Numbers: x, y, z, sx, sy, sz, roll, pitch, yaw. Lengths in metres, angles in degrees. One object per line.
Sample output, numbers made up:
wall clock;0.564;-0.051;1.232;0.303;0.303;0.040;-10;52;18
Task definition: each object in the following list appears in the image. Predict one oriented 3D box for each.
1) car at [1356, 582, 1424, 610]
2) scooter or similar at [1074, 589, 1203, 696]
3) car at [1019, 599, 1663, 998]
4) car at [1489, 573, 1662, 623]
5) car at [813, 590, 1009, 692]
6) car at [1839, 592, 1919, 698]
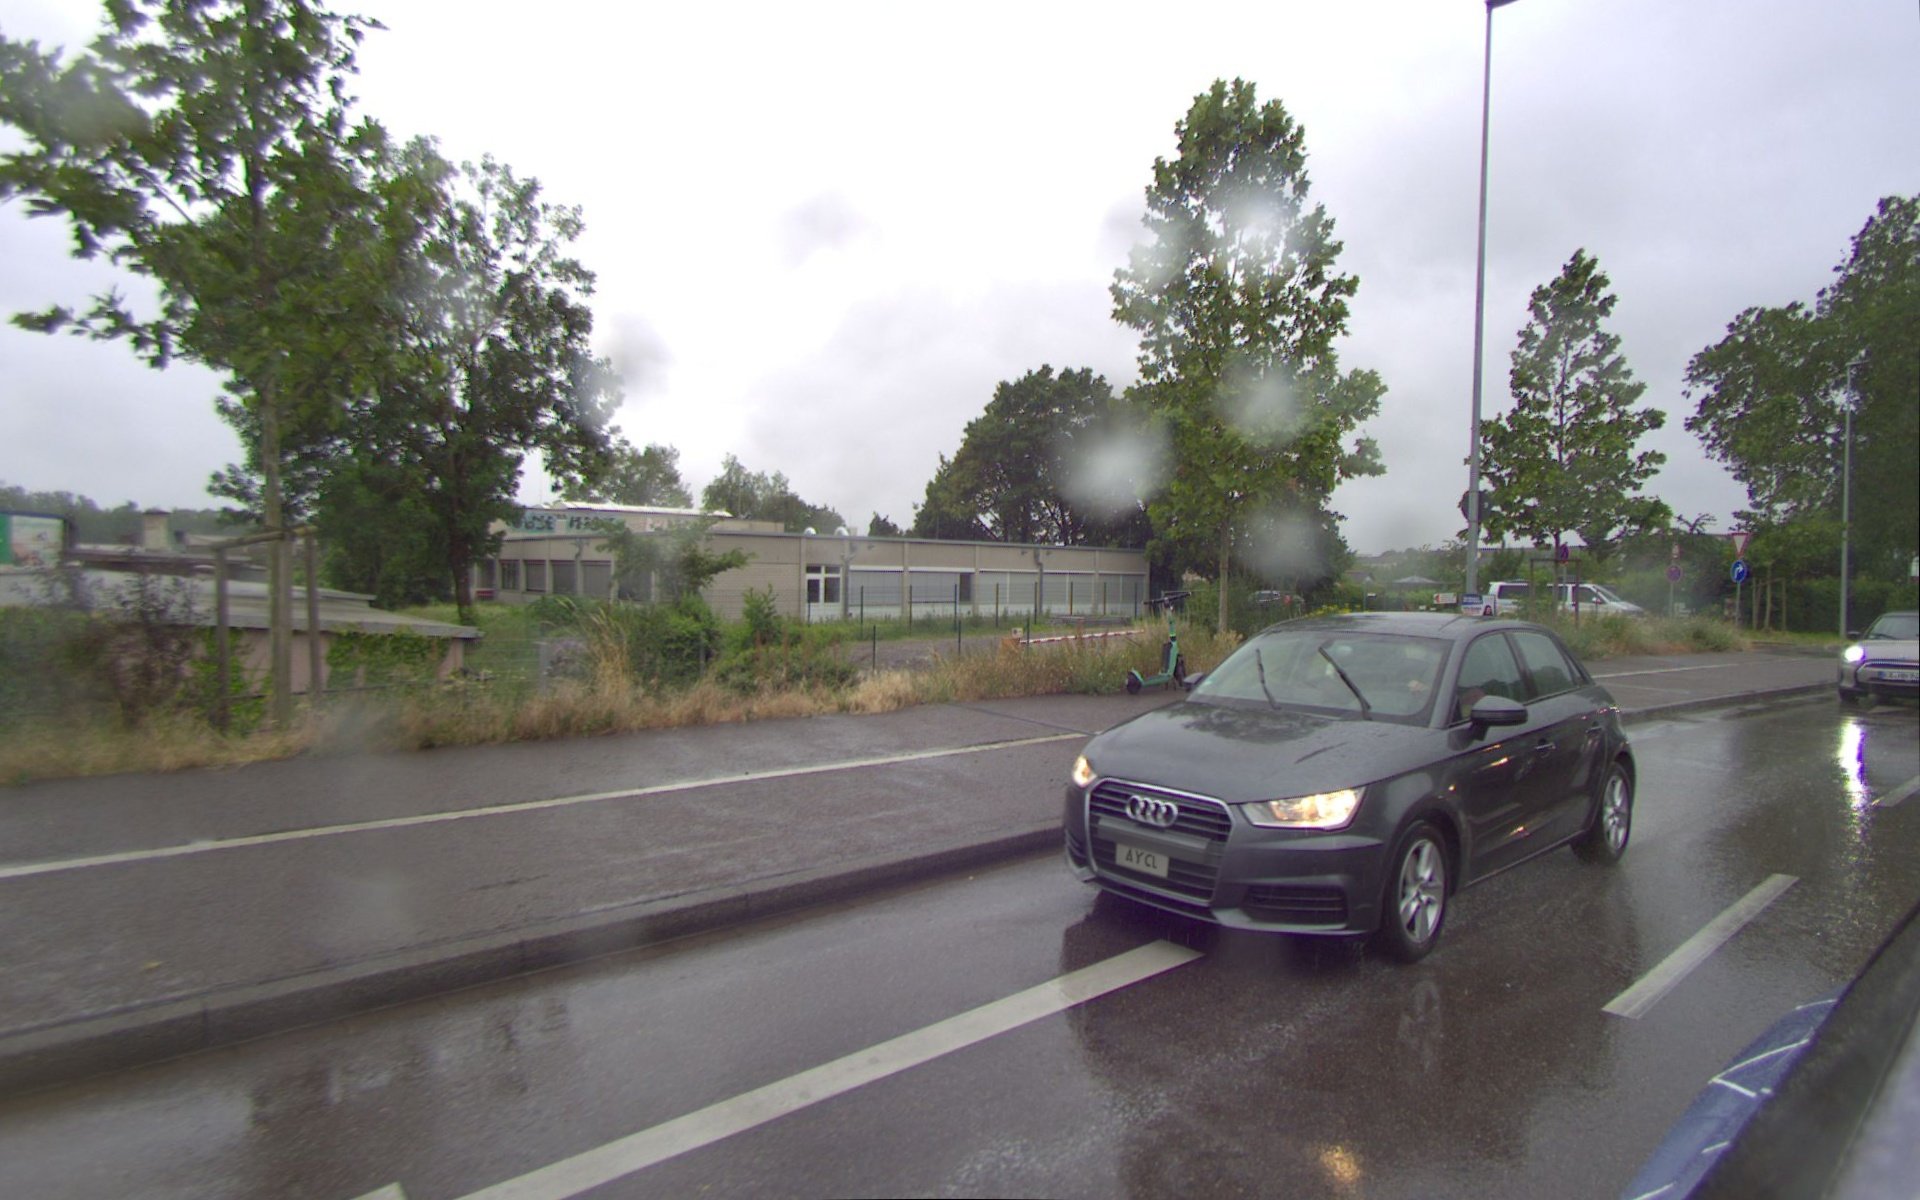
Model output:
car;25.440;-0.230;59.902;1.319;1.604;3.555;0;0;-35
scooter or similar;2.182;0.476;12.223;1.878;1.214;0.367;-1;1;-38
car;2.186;0.731;5.398;3.565;1.383;1.601;1;1;-39
car;22.722;-0.077;37.549;1.972;1.747;5.168;-1;0;-42
car;-0.800;0.524;14.707;1.319;1.304;3.246;-1;0;-35
car;15.413;0.646;15.975;3.810;1.527;1.706;-1;0;-39
